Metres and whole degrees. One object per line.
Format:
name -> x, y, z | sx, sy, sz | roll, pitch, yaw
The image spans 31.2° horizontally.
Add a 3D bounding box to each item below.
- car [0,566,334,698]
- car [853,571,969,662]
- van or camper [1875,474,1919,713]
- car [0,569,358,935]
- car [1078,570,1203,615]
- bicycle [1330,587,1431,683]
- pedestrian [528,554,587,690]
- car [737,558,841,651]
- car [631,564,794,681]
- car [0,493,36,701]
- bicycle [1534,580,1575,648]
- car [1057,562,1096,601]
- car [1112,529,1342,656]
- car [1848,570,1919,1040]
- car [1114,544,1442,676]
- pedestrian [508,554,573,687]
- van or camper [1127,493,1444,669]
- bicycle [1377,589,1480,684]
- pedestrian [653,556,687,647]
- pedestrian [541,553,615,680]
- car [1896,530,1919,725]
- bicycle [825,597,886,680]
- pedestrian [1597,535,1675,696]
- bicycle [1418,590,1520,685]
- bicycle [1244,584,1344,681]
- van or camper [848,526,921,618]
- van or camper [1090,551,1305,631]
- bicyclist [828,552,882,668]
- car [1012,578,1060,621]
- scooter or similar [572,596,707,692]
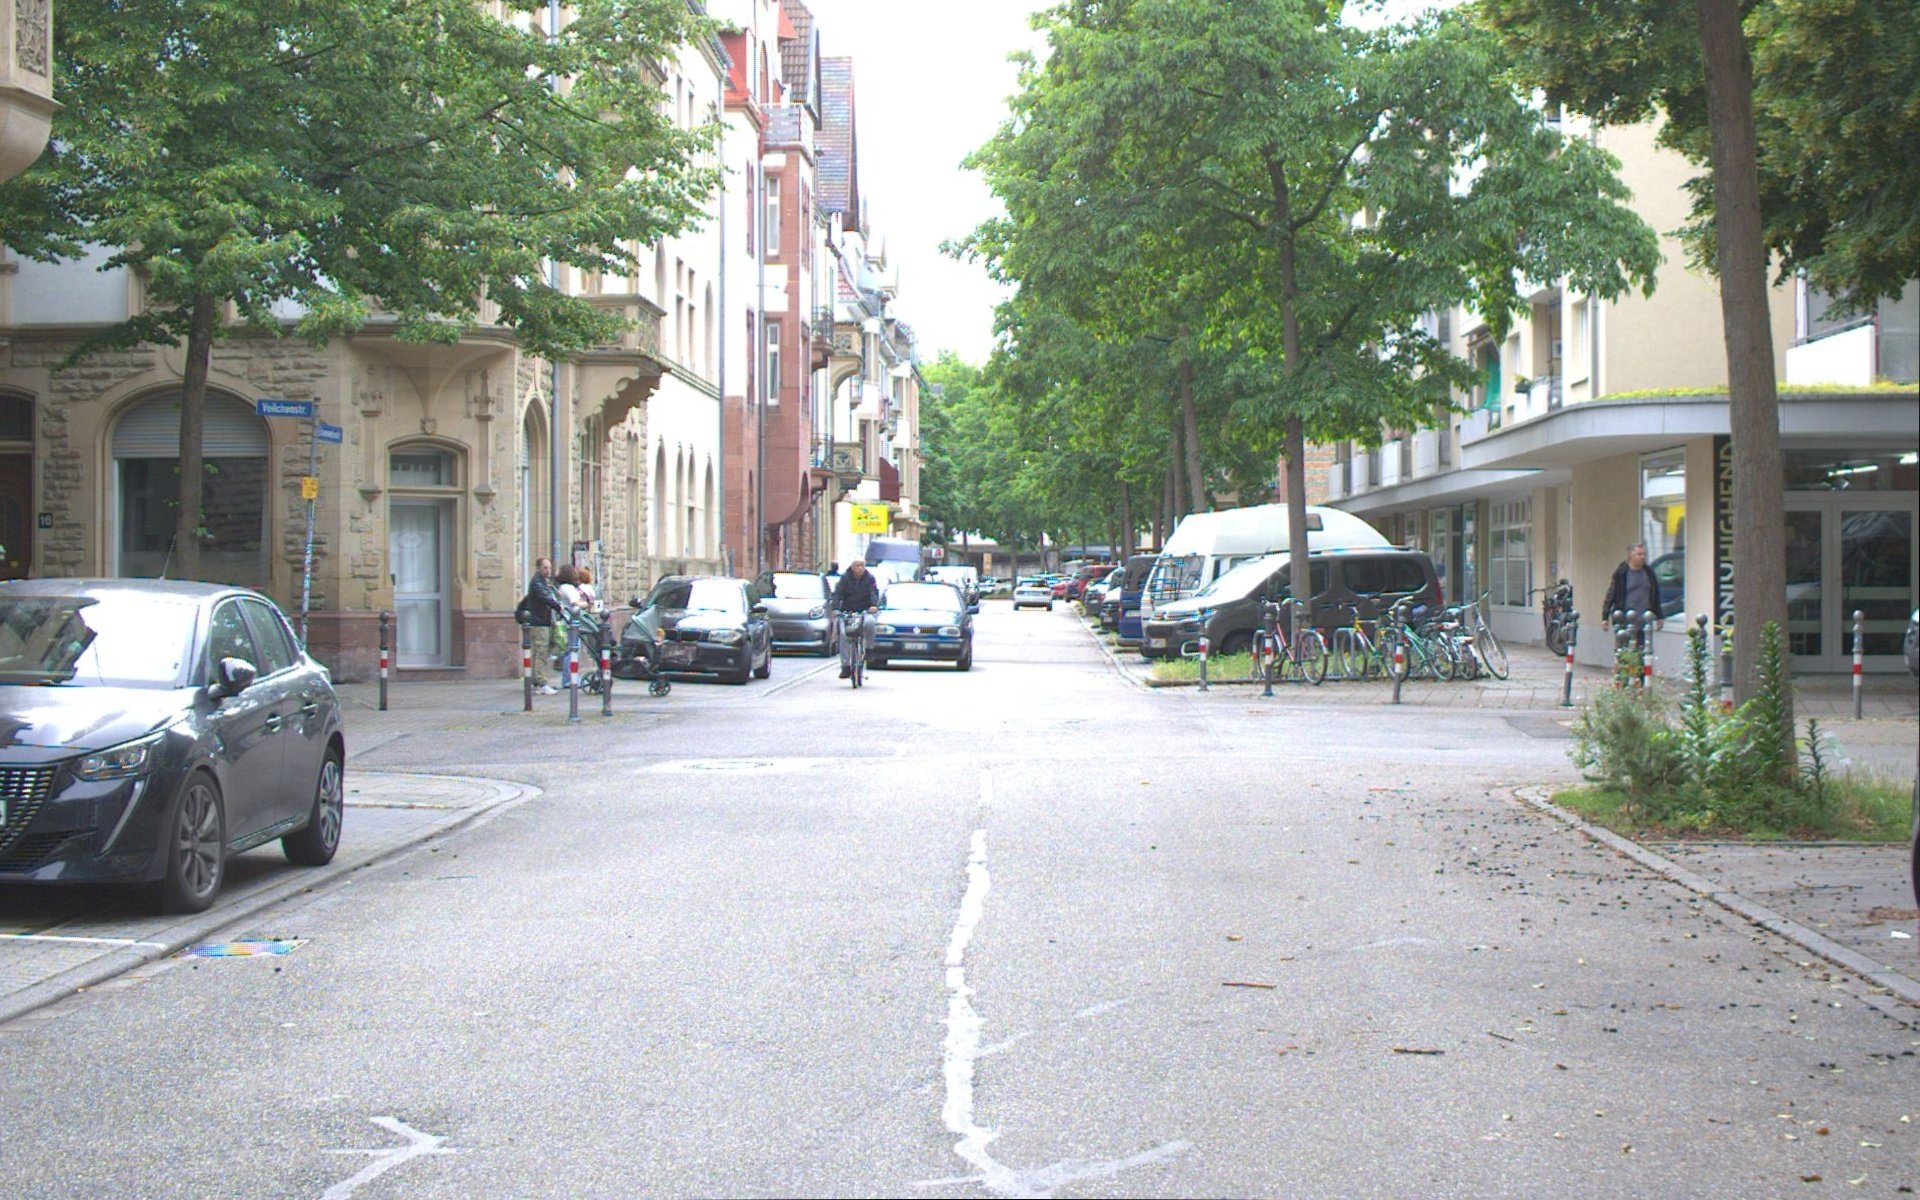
car -> -9.512, 0.374, 41.221 | 3.570, 1.455, 1.649 | -1, 2, 11
car -> -0.773, 0.281, 56.204 | 1.708, 1.408, 3.852 | -1, -1, 2
van or camper -> 12.991, -0.109, 37.227 | 5.773, 2.485, 2.136 | 0, 4, 10
car -> -4.099, 0.610, 16.104 | 1.727, 1.429, 3.881 | 1, 1, 2
car -> 6.345, -0.269, 120.683 | 4.010, 1.554, 1.885 | 0, 0, -29
bicycle -> 5.316, 0.432, 43.590 | 0.548, 1.169, 1.729 | 0, 1, -20
pedestrian -> -4.940, 0.263, 42.180 | 0.528, 1.638, 0.528 | 2, 1, 14
car -> -3.065, 0.059, 62.061 | 1.646, 1.565, 2.957 | 1, 1, 1
car -> -3.351, 0.313, 47.210 | 1.709, 1.489, 3.999 | 1, -1, 3
car -> -10.173, -0.042, 34.248 | 1.827, 1.961, 3.963 | 0, 1, -15
bicycle -> 9.710, 0.223, 56.203 | 0.484, 1.086, 1.700 | 0, 0, 4
car -> 6.457, -1.041, 191.172 | 1.993, 2.007, 4.000 | 3, 1, 1
car -> 4.794, -0.155, 61.265 | 2.065, 2.189, 4.389 | 0, 1, 37
car -> 3.859, 0.640, 9.389 | 1.764, 1.481, 4.479 | -2, 1, 1
car -> 4.595, 0.117, 49.634 | 4.331, 1.848, 1.911 | 0, 1, -23
pedestrian -> -5.222, 0.248, 42.821 | 0.616, 1.638, 0.603 | 1, 1, 14
van or camper -> 5.001, -0.309, 52.684 | 4.581, 2.587, 1.911 | -1, 1, -31
bicycle -> 5.959, 0.451, 43.798 | 0.548, 1.169, 1.729 | 0, 1, -20
pedestrian -> -4.877, 0.025, 57.795 | 0.515, 1.513, 0.546 | 0, 0, 2
pedestrian -> -4.843, 0.208, 43.608 | 0.631, 1.588, 0.668 | 1, 1, 43
car -> 9.720, 0.261, 30.888 | 1.770, 1.813, 4.000 | 0, 1, 4
bicycle -> -1.386, 0.503, 45.848 | 0.634, 1.090, 1.799 | 0, 0, 4
pedestrian -> 7.572, 0.167, 38.531 | 0.779, 1.791, 0.509 | 1, 1, 4
bicycle -> 6.528, 0.470, 44.161 | 0.548, 1.169, 1.698 | 0, 1, -20
bicycle -> 4.174, 0.395, 43.043 | 0.548, 1.169, 1.729 | 0, 1, -20
van or camper -> -2.348, -0.916, 107.953 | 2.008, 2.642, 5.316 | 0, 3, 2
van or camper -> 6.021, -0.228, 87.075 | 5.005, 1.863, 2.127 | -2, 0, -26
bicyclist -> -1.399, 0.130, 45.859 | 0.648, 1.533, 0.677 | -1, 0, 4
car -> 3.348, -0.016, 151.278 | 1.994, 1.788, 3.999 | 1, -1, 2
scooter or similar -> -3.938, 0.533, 42.261 | 1.470, 1.100, 0.675 | 2, 1, 13
